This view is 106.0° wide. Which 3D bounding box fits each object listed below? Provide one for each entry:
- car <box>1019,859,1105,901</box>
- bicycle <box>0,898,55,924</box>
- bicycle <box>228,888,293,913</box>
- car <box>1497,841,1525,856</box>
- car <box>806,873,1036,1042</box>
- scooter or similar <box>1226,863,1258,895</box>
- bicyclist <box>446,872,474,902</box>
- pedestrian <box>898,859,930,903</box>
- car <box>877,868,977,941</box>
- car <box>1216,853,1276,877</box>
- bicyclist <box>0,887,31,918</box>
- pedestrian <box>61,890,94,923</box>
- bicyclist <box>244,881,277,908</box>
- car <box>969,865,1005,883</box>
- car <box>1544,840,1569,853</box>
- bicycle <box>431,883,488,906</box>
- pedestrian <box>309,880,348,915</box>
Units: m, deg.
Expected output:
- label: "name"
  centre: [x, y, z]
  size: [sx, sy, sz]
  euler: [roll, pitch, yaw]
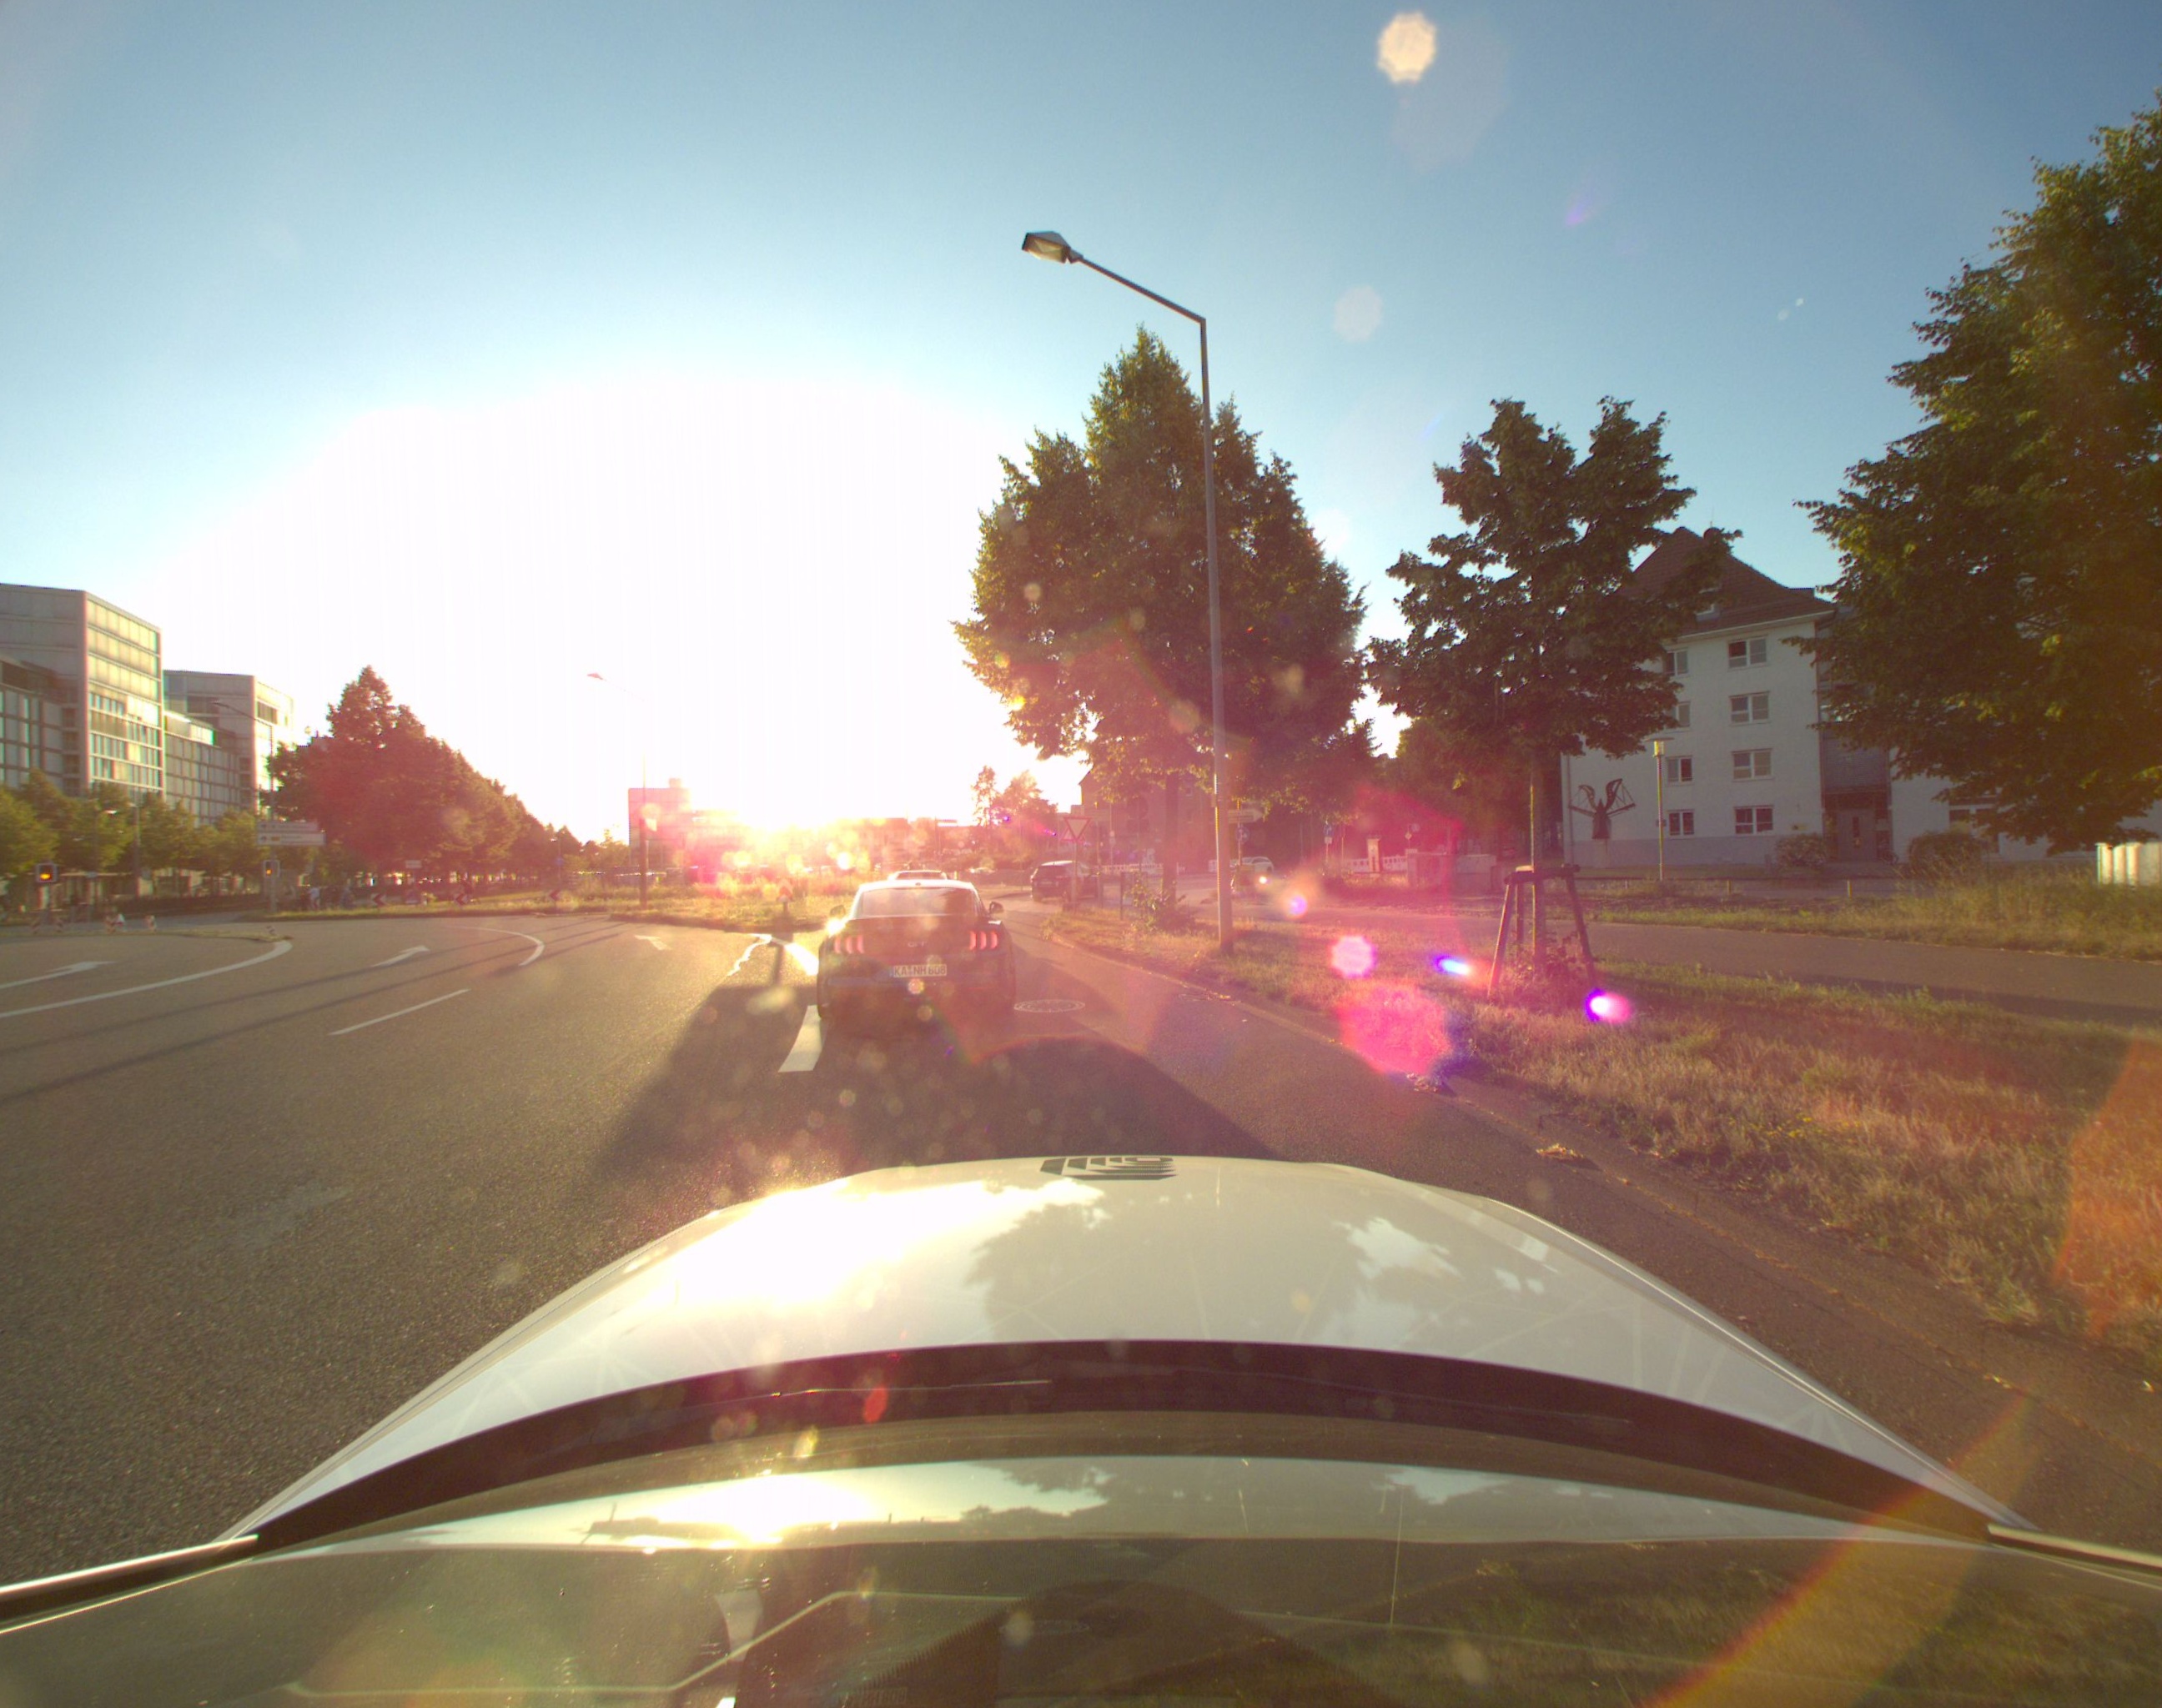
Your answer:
- label: "car"
  centre: [-0.703, 1.036, 33.683]
  size: [1.933, 1.602, 4.101]
  euler: [-1, 0, 25]
- label: "bicycle"
  centre: [-53.819, 2.895, 41.095]
  size: [2.422, 1.167, 0.745]
  euler: [-1, -1, -41]
- label: "bicycle"
  centre: [-43.872, 2.476, 43.576]
  size: [2.403, 1.167, 0.751]
  euler: [-2, -1, -12]
- label: "car"
  centre: [47.581, -0.619, 90.099]
  size: [1.932, 1.602, 4.103]
  euler: [-1, 0, 40]
- label: "car"
  centre: [-1.911, 0.934, 9.380]
  size: [1.954, 1.342, 4.648]
  euler: [-1, -1, -14]
- label: "scooter or similar"
  centre: [6.321, 0.976, 32.038]
  size: [1.120, 1.238, 0.441]
  euler: [-1, -1, -10]
- label: "bicyclist"
  centre: [-34.656, 1.842, 45.443]
  size: [0.976, 1.612, 0.751]
  euler: [-2, -1, -13]
- label: "pedestrian"
  centre: [-6.572, 1.067, 32.018]
  size: [0.875, 1.686, 0.851]
  euler: [-2, -1, 39]
- label: "car"
  centre: [-3.514, 1.079, 18.492]
  size: [1.952, 1.427, 4.411]
  euler: [1, -2, -12]
- label: "car"
  centre: [12.308, 0.780, 60.533]
  size: [4.683, 1.452, 2.050]
  euler: [-3, 4, -43]
- label: "bicyclist"
  centre: [-53.897, 2.429, 41.094]
  size: [0.984, 1.525, 0.745]
  euler: [-1, -1, -41]
- label: "pedestrian"
  centre: [-54.182, 2.821, 43.977]
  size: [0.892, 1.707, 0.786]
  euler: [-1, -1, -35]
- label: "bicyclist"
  centre: [-43.865, 2.155, 43.564]
  size: [0.976, 1.394, 0.751]
  euler: [-2, -1, -12]
- label: "car"
  centre: [-9.114, 1.944, 78.750]
  size: [2.006, 1.706, 3.961]
  euler: [-1, -1, -30]
- label: "car"
  centre: [61.747, -0.989, 105.661]
  size: [1.933, 1.602, 4.102]
  euler: [-1, 0, 43]
- label: "bicycle"
  centre: [-34.659, 2.274, 45.455]
  size: [2.404, 1.167, 0.751]
  euler: [-2, -1, -13]
- label: "pedestrian"
  centre: [-40.963, 2.375, 44.333]
  size: [1.157, 1.827, 0.977]
  euler: [-2, -1, -7]
